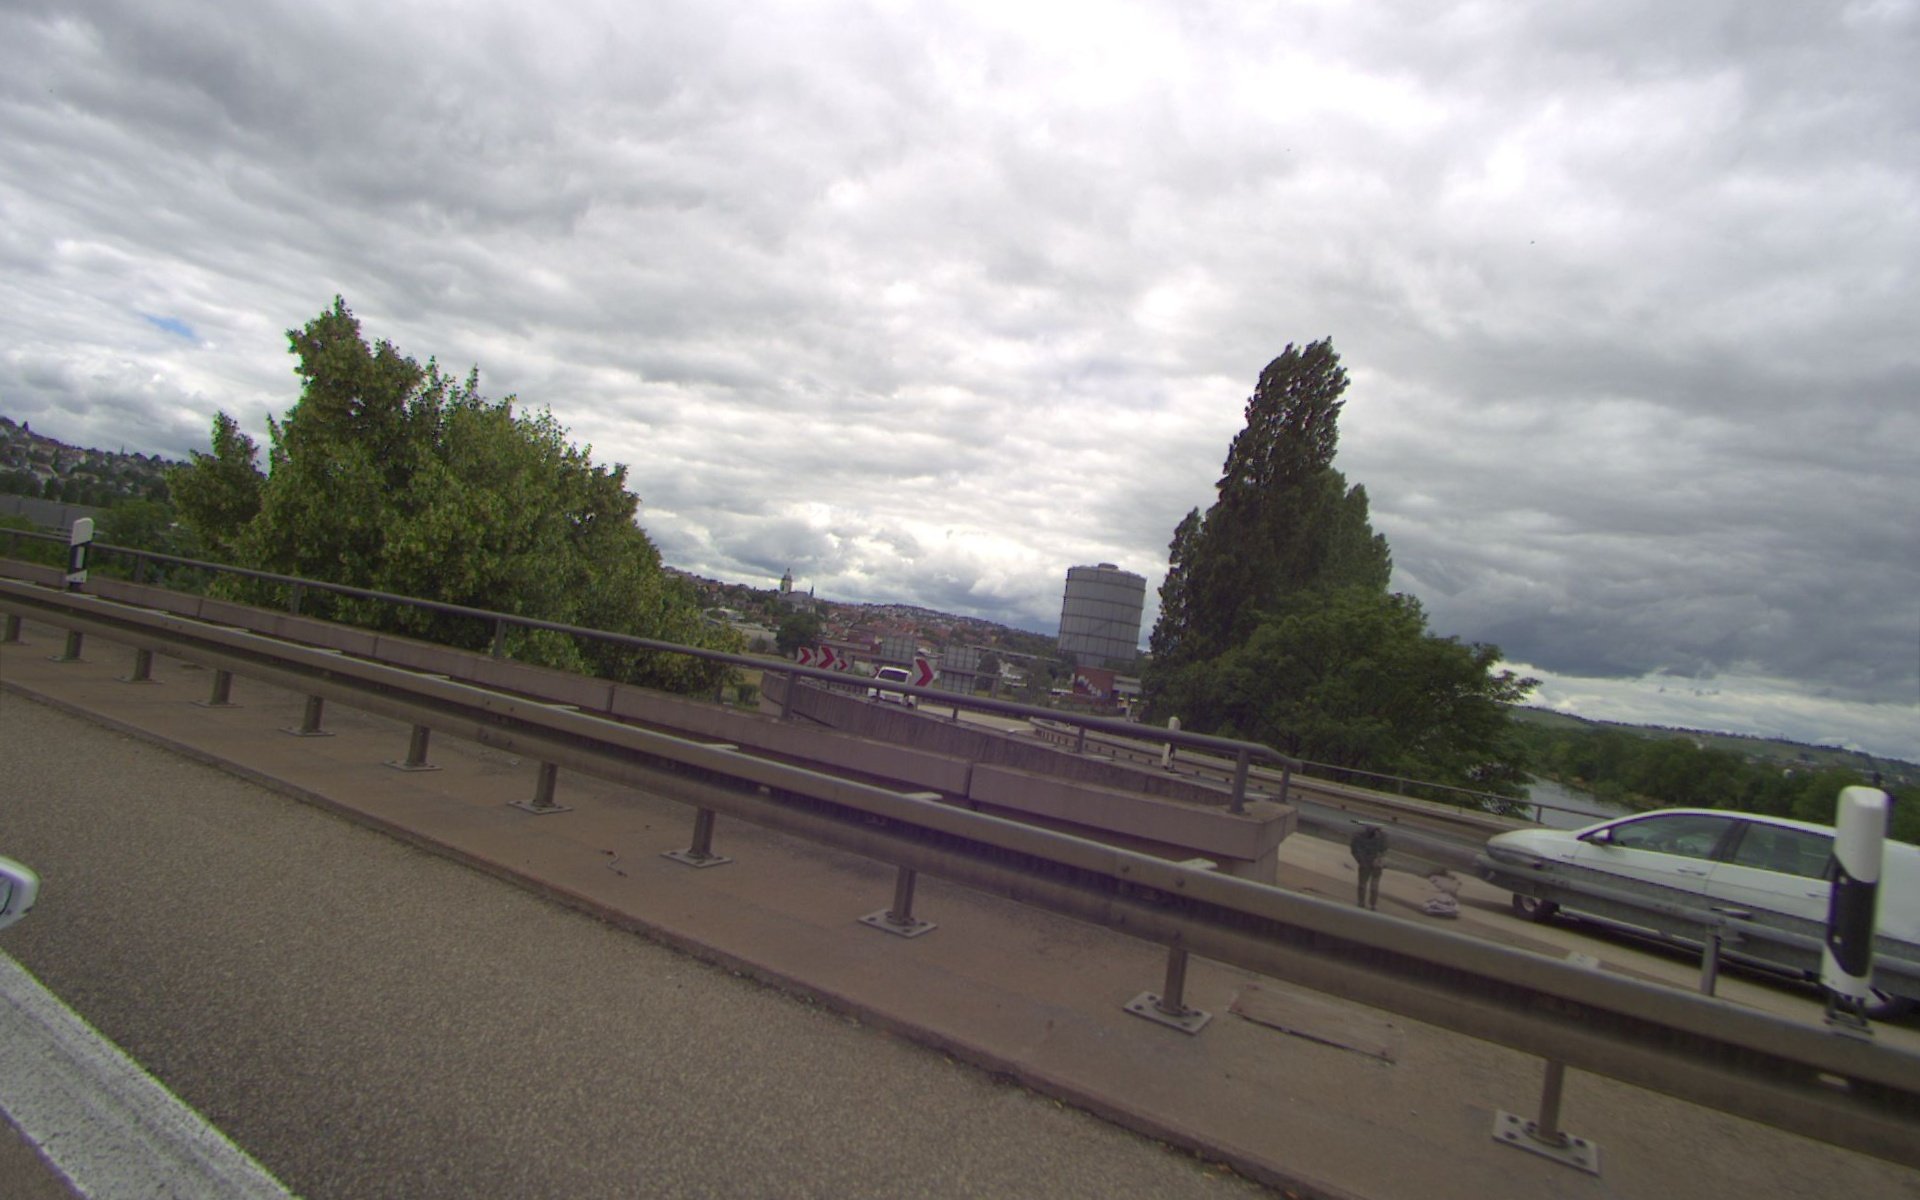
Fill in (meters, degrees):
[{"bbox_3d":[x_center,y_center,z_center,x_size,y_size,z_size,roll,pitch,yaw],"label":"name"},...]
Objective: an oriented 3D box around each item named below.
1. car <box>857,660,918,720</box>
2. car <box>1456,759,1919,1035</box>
[{"bbox_3d":[-2.800,3.418,38.893,1.966,1.799,4.002,10,-3,-4],"label":"car"},{"bbox_3d":[7.054,2.614,9.292,1.725,1.494,3.963,13,-5,-35],"label":"car"}]
